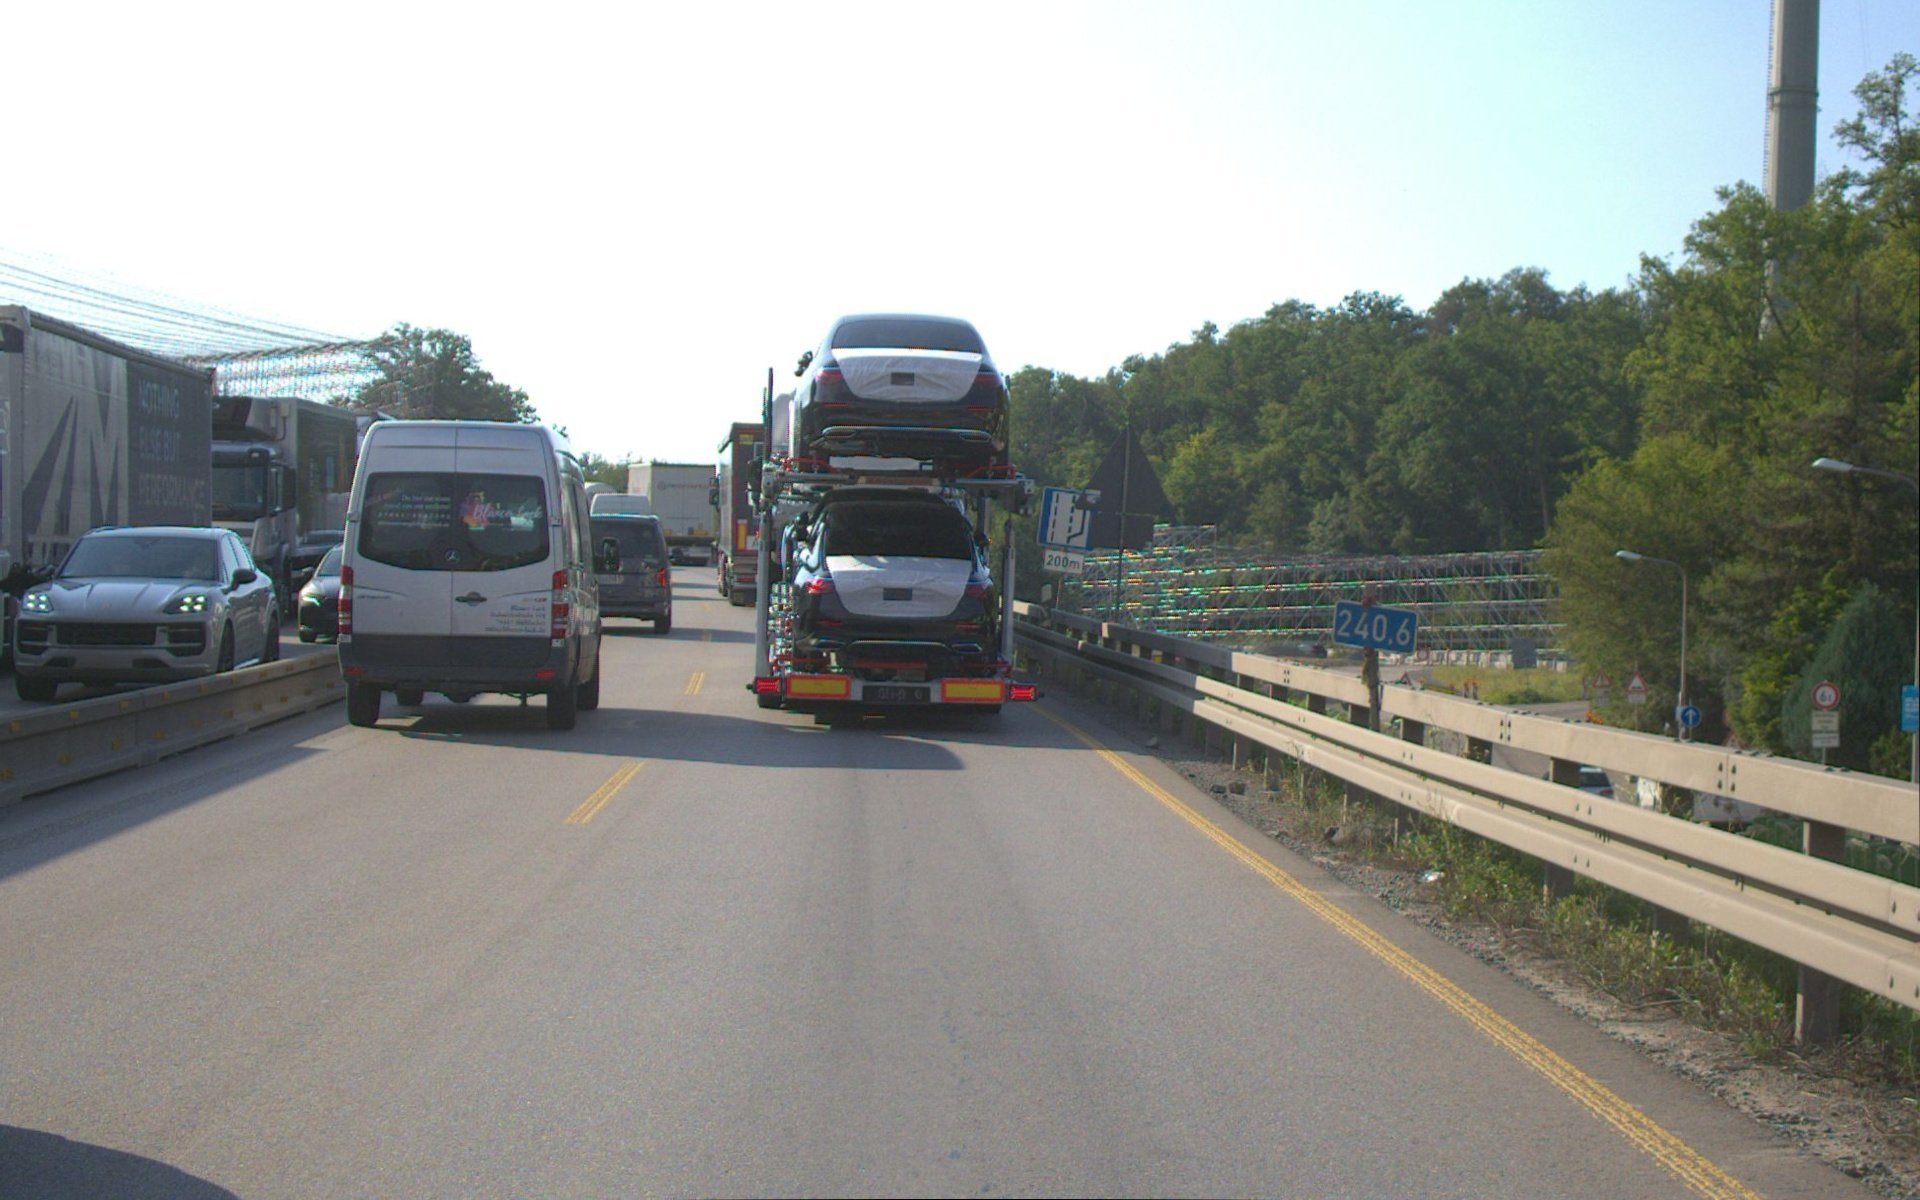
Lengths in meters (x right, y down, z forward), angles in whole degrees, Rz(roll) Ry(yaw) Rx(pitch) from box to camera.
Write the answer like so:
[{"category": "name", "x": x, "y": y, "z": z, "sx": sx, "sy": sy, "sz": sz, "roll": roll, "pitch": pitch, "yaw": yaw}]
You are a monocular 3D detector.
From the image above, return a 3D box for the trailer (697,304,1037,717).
[{"category": "trailer", "x": -1.486, "y": -0.938, "z": 41.186, "sx": 2.874, "sy": 3.980, "sz": 15.282, "roll": 1, "pitch": 0, "yaw": -6}]

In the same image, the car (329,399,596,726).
[{"category": "car", "x": -4.343, "y": -0.326, "z": 30.568, "sx": 1.979, "sy": 2.675, "sz": 4.147, "roll": 1, "pitch": 0, "yaw": -4}]

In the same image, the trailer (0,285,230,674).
[{"category": "trailer", "x": -11.844, "y": -1.382, "z": 43.915, "sx": 2.775, "sy": 4.189, "sz": 13.835, "roll": 1, "pitch": 0, "yaw": -3}]

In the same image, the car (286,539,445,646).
[{"category": "car", "x": -8.867, "y": -0.101, "z": 51.608, "sx": 1.774, "sy": 1.452, "sz": 4.815, "roll": 3, "pitch": 0, "yaw": -4}]

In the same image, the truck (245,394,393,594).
[{"category": "truck", "x": -13.555, "y": -2.216, "z": 73.005, "sx": 2.748, "sy": 4.101, "sz": 5.032, "roll": 0, "pitch": 1, "yaw": -7}]

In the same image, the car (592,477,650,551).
[{"category": "car", "x": -9.897, "y": -2.491, "z": 100.340, "sx": 1.528, "sy": 2.007, "sz": 4.001, "roll": 3, "pitch": 0, "yaw": -6}]

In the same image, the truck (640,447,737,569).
[{"category": "truck", "x": -11.062, "y": -3.804, "z": 140.416, "sx": 3.648, "sy": 4.661, "sz": 11.698, "roll": 2, "pitch": 2, "yaw": -4}]

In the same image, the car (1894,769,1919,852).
[{"category": "car", "x": 21.193, "y": 4.246, "z": 67.744, "sx": 5.090, "sy": 1.551, "sz": 1.715, "roll": 2, "pitch": -1, "yaw": 2}]

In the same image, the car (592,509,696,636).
[{"category": "car", "x": -5.399, "y": -0.467, "z": 59.079, "sx": 1.528, "sy": 2.007, "sz": 4.000, "roll": 3, "pitch": 0, "yaw": -3}]

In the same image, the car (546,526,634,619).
[{"category": "car", "x": -8.172, "y": -0.606, "z": 76.171, "sx": 1.832, "sy": 1.957, "sz": 4.900, "roll": 1, "pitch": 0, "yaw": -6}]

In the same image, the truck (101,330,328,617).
[{"category": "truck", "x": -12.378, "y": -2.049, "z": 57.480, "sx": 2.919, "sy": 4.499, "sz": 5.028, "roll": 2, "pitch": 1, "yaw": -4}]

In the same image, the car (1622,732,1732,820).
[{"category": "car", "x": 17.630, "y": 4.301, "z": 84.706, "sx": 1.862, "sy": 1.979, "sz": 5.051, "roll": 1, "pitch": -1, "yaw": 3}]

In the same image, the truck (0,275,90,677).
[{"category": "truck", "x": -11.485, "y": -1.320, "z": 37.319, "sx": 2.764, "sy": 4.189, "sz": 6.115, "roll": 1, "pitch": 0, "yaw": -3}]

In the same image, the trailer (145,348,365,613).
[{"category": "trailer", "x": -12.761, "y": -2.104, "z": 62.798, "sx": 2.911, "sy": 4.450, "sz": 7.154, "roll": 2, "pitch": 1, "yaw": -4}]

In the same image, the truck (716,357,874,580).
[{"category": "truck", "x": -3.946, "y": -3.014, "z": 79.245, "sx": 3.227, "sy": 4.661, "sz": 11.698, "roll": 2, "pitch": 2, "yaw": -4}]

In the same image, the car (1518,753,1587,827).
[{"category": "car", "x": 13.998, "y": 4.481, "z": 81.366, "sx": 1.526, "sy": 1.456, "sz": 4.266, "roll": 1, "pitch": 0, "yaw": 9}]

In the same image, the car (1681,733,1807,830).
[{"category": "car", "x": 16.939, "y": 3.899, "z": 74.451, "sx": 1.996, "sy": 1.910, "sz": 4.862, "roll": 1, "pitch": -1, "yaw": 5}]

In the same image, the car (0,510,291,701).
[{"category": "car", "x": -8.062, "y": 0.038, "z": 34.353, "sx": 2.008, "sy": 1.649, "sz": 4.975, "roll": 3, "pitch": 0, "yaw": -4}]

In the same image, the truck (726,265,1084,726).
[{"category": "truck", "x": -0.670, "y": -0.932, "z": 32.888, "sx": 2.869, "sy": 3.966, "sz": 5.773, "roll": 1, "pitch": 0, "yaw": -6}]
